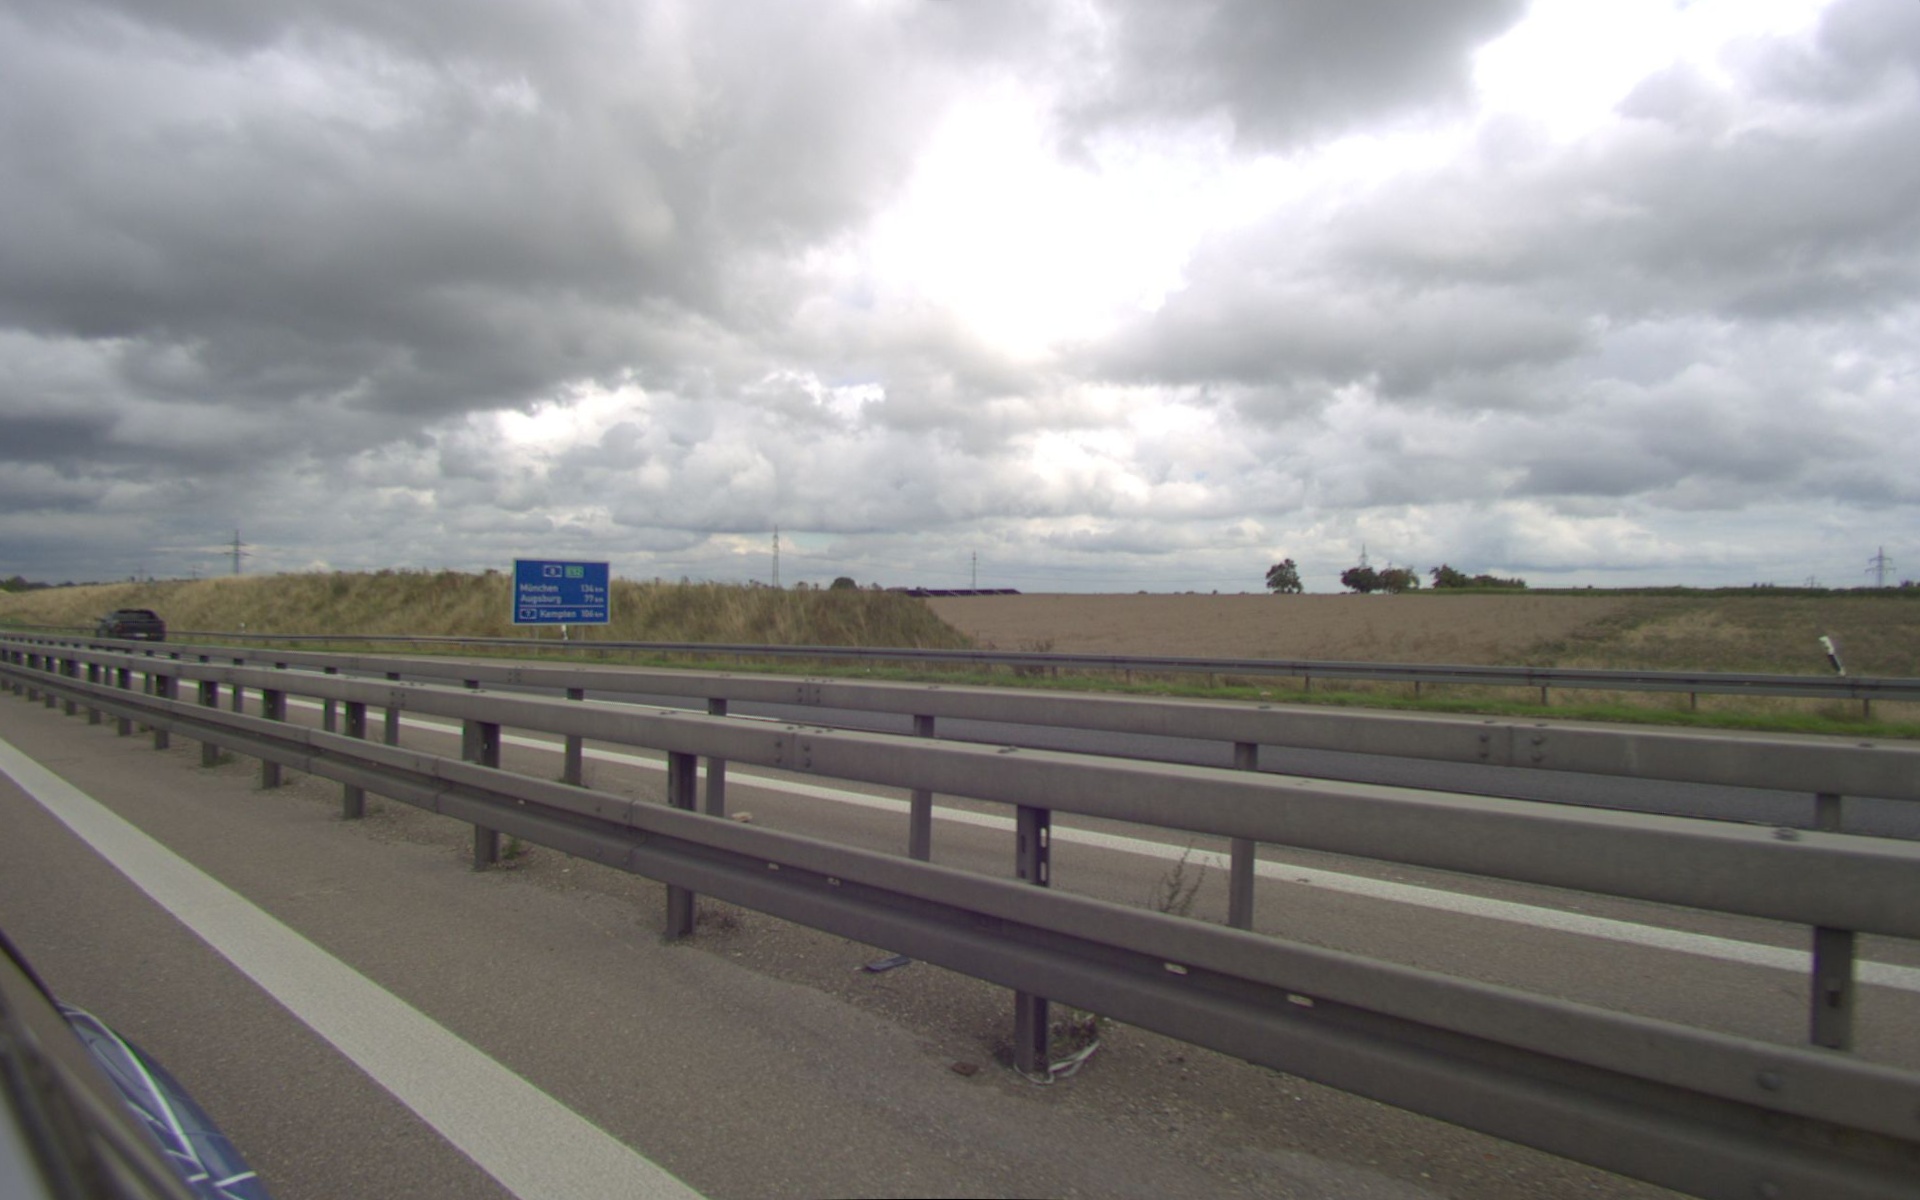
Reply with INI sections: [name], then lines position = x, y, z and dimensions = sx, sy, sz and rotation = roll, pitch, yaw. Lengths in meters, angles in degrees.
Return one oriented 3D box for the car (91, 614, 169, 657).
[car]
position = -41.442, 1.720, 50.477
dimensions = 6.098, 2.029, 1.973
rotation = -1, -2, 41
